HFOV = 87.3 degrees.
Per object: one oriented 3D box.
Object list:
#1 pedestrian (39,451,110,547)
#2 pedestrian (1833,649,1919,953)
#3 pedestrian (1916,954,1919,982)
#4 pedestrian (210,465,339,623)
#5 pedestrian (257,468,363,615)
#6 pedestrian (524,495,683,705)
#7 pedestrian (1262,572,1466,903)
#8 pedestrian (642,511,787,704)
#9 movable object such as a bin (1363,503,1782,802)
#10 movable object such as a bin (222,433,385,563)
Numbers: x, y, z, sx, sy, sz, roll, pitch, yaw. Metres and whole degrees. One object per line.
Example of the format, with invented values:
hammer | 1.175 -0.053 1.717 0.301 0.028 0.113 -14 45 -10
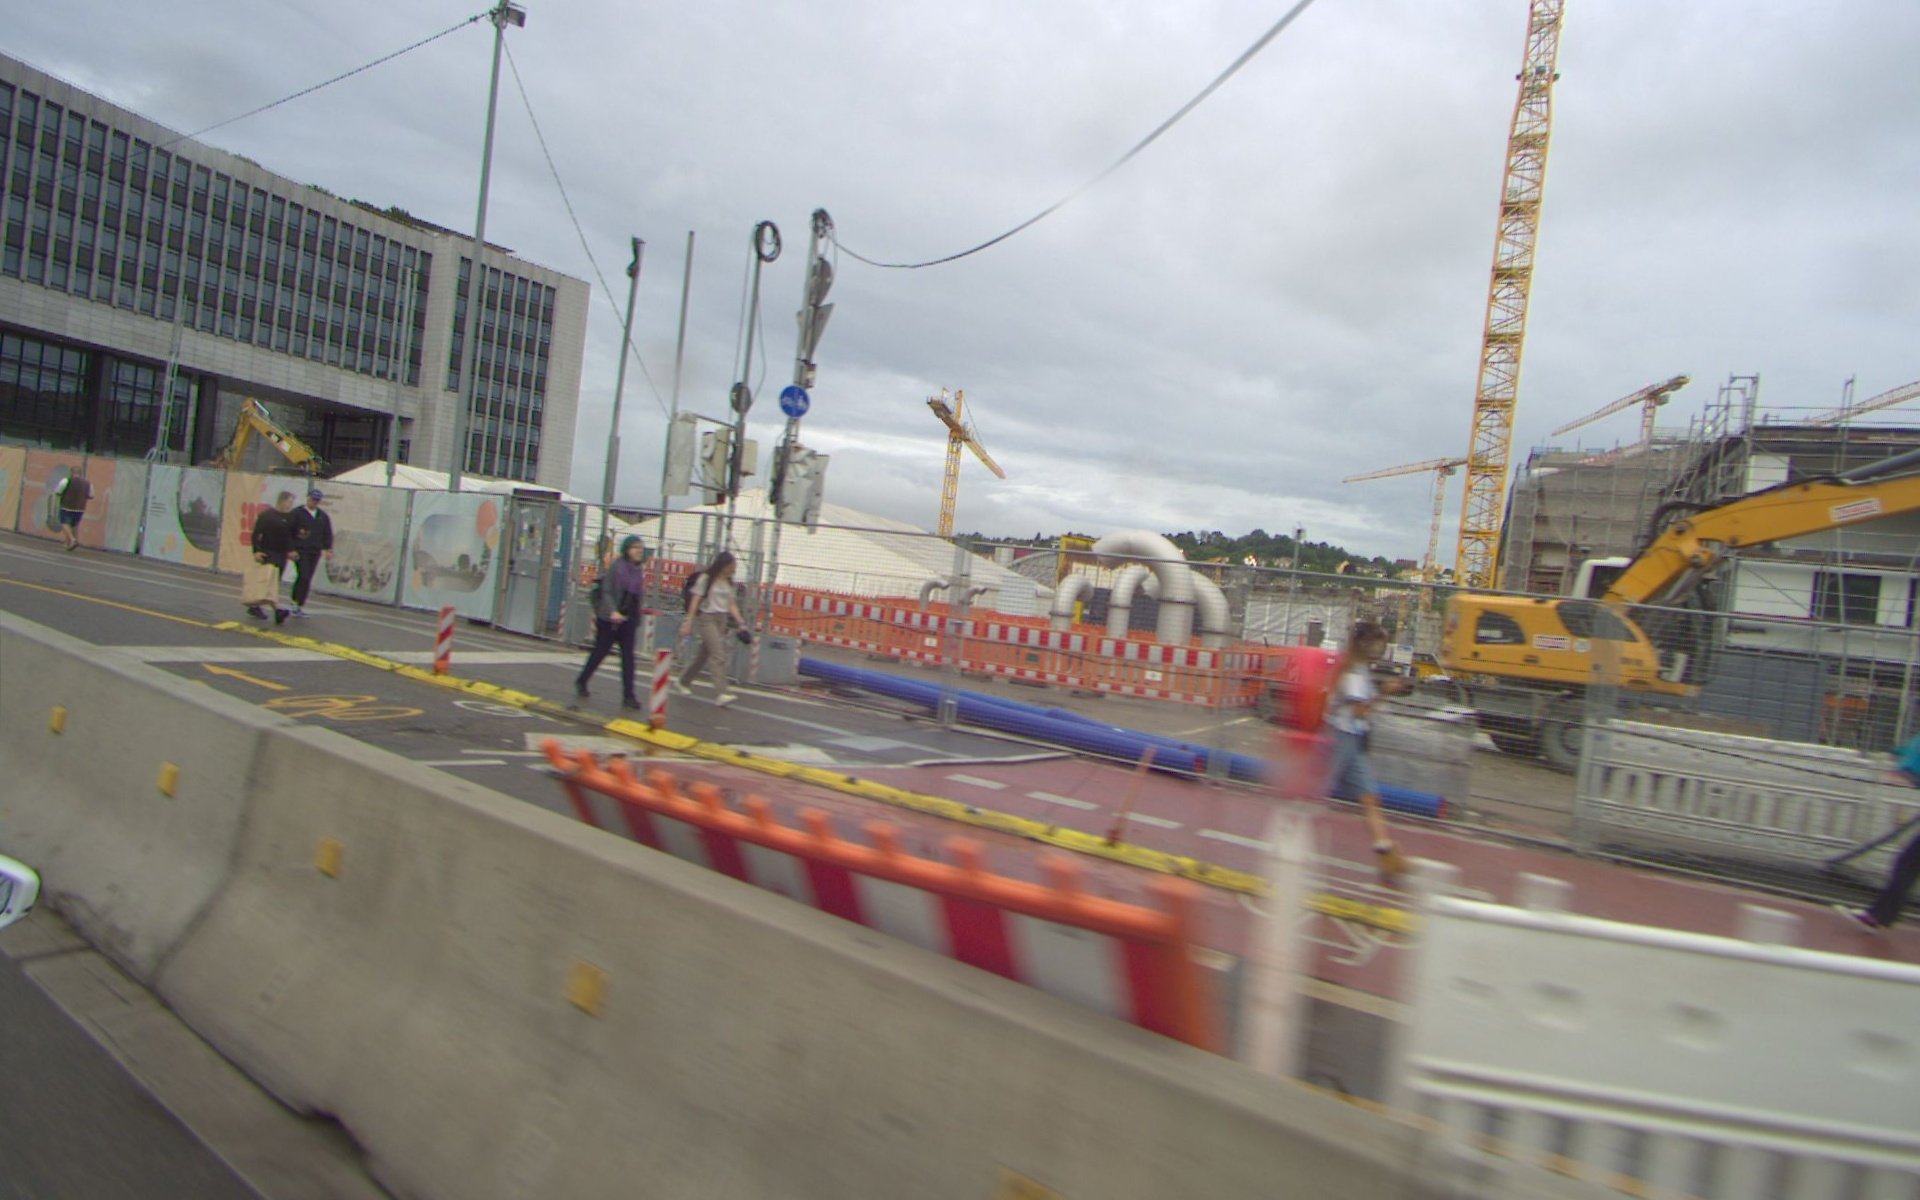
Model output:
pedestrian | -18.875 -2.145 21.451 0.797 1.886 0.780 8 3 27
pedestrian | 6.386 1.309 6.549 0.671 1.885 0.788 8 1 27
pedestrian | 5.727 1.240 5.174 0.797 1.885 0.691 8 1 27
pedestrian | -8.746 -0.707 12.850 1.092 1.851 0.820 8 2 28
pedestrian | -9.023 -0.793 13.975 0.797 1.885 0.780 8 1 27
pedestrian | -3.502 0.008 9.918 0.932 1.885 0.871 8 1 27
pedestrian | 2.640 0.842 6.551 0.932 1.885 0.780 8 1 27
pedestrian | -2.624 0.083 10.765 1.039 1.885 0.780 8 1 27
movable object such as a bin | 9.224 0.659 15.210 4.298 3.537 3.918 9 2 44
movable object such as a bin | -24.601 -3.746 37.872 3.626 4.080 3.098 8 1 8
